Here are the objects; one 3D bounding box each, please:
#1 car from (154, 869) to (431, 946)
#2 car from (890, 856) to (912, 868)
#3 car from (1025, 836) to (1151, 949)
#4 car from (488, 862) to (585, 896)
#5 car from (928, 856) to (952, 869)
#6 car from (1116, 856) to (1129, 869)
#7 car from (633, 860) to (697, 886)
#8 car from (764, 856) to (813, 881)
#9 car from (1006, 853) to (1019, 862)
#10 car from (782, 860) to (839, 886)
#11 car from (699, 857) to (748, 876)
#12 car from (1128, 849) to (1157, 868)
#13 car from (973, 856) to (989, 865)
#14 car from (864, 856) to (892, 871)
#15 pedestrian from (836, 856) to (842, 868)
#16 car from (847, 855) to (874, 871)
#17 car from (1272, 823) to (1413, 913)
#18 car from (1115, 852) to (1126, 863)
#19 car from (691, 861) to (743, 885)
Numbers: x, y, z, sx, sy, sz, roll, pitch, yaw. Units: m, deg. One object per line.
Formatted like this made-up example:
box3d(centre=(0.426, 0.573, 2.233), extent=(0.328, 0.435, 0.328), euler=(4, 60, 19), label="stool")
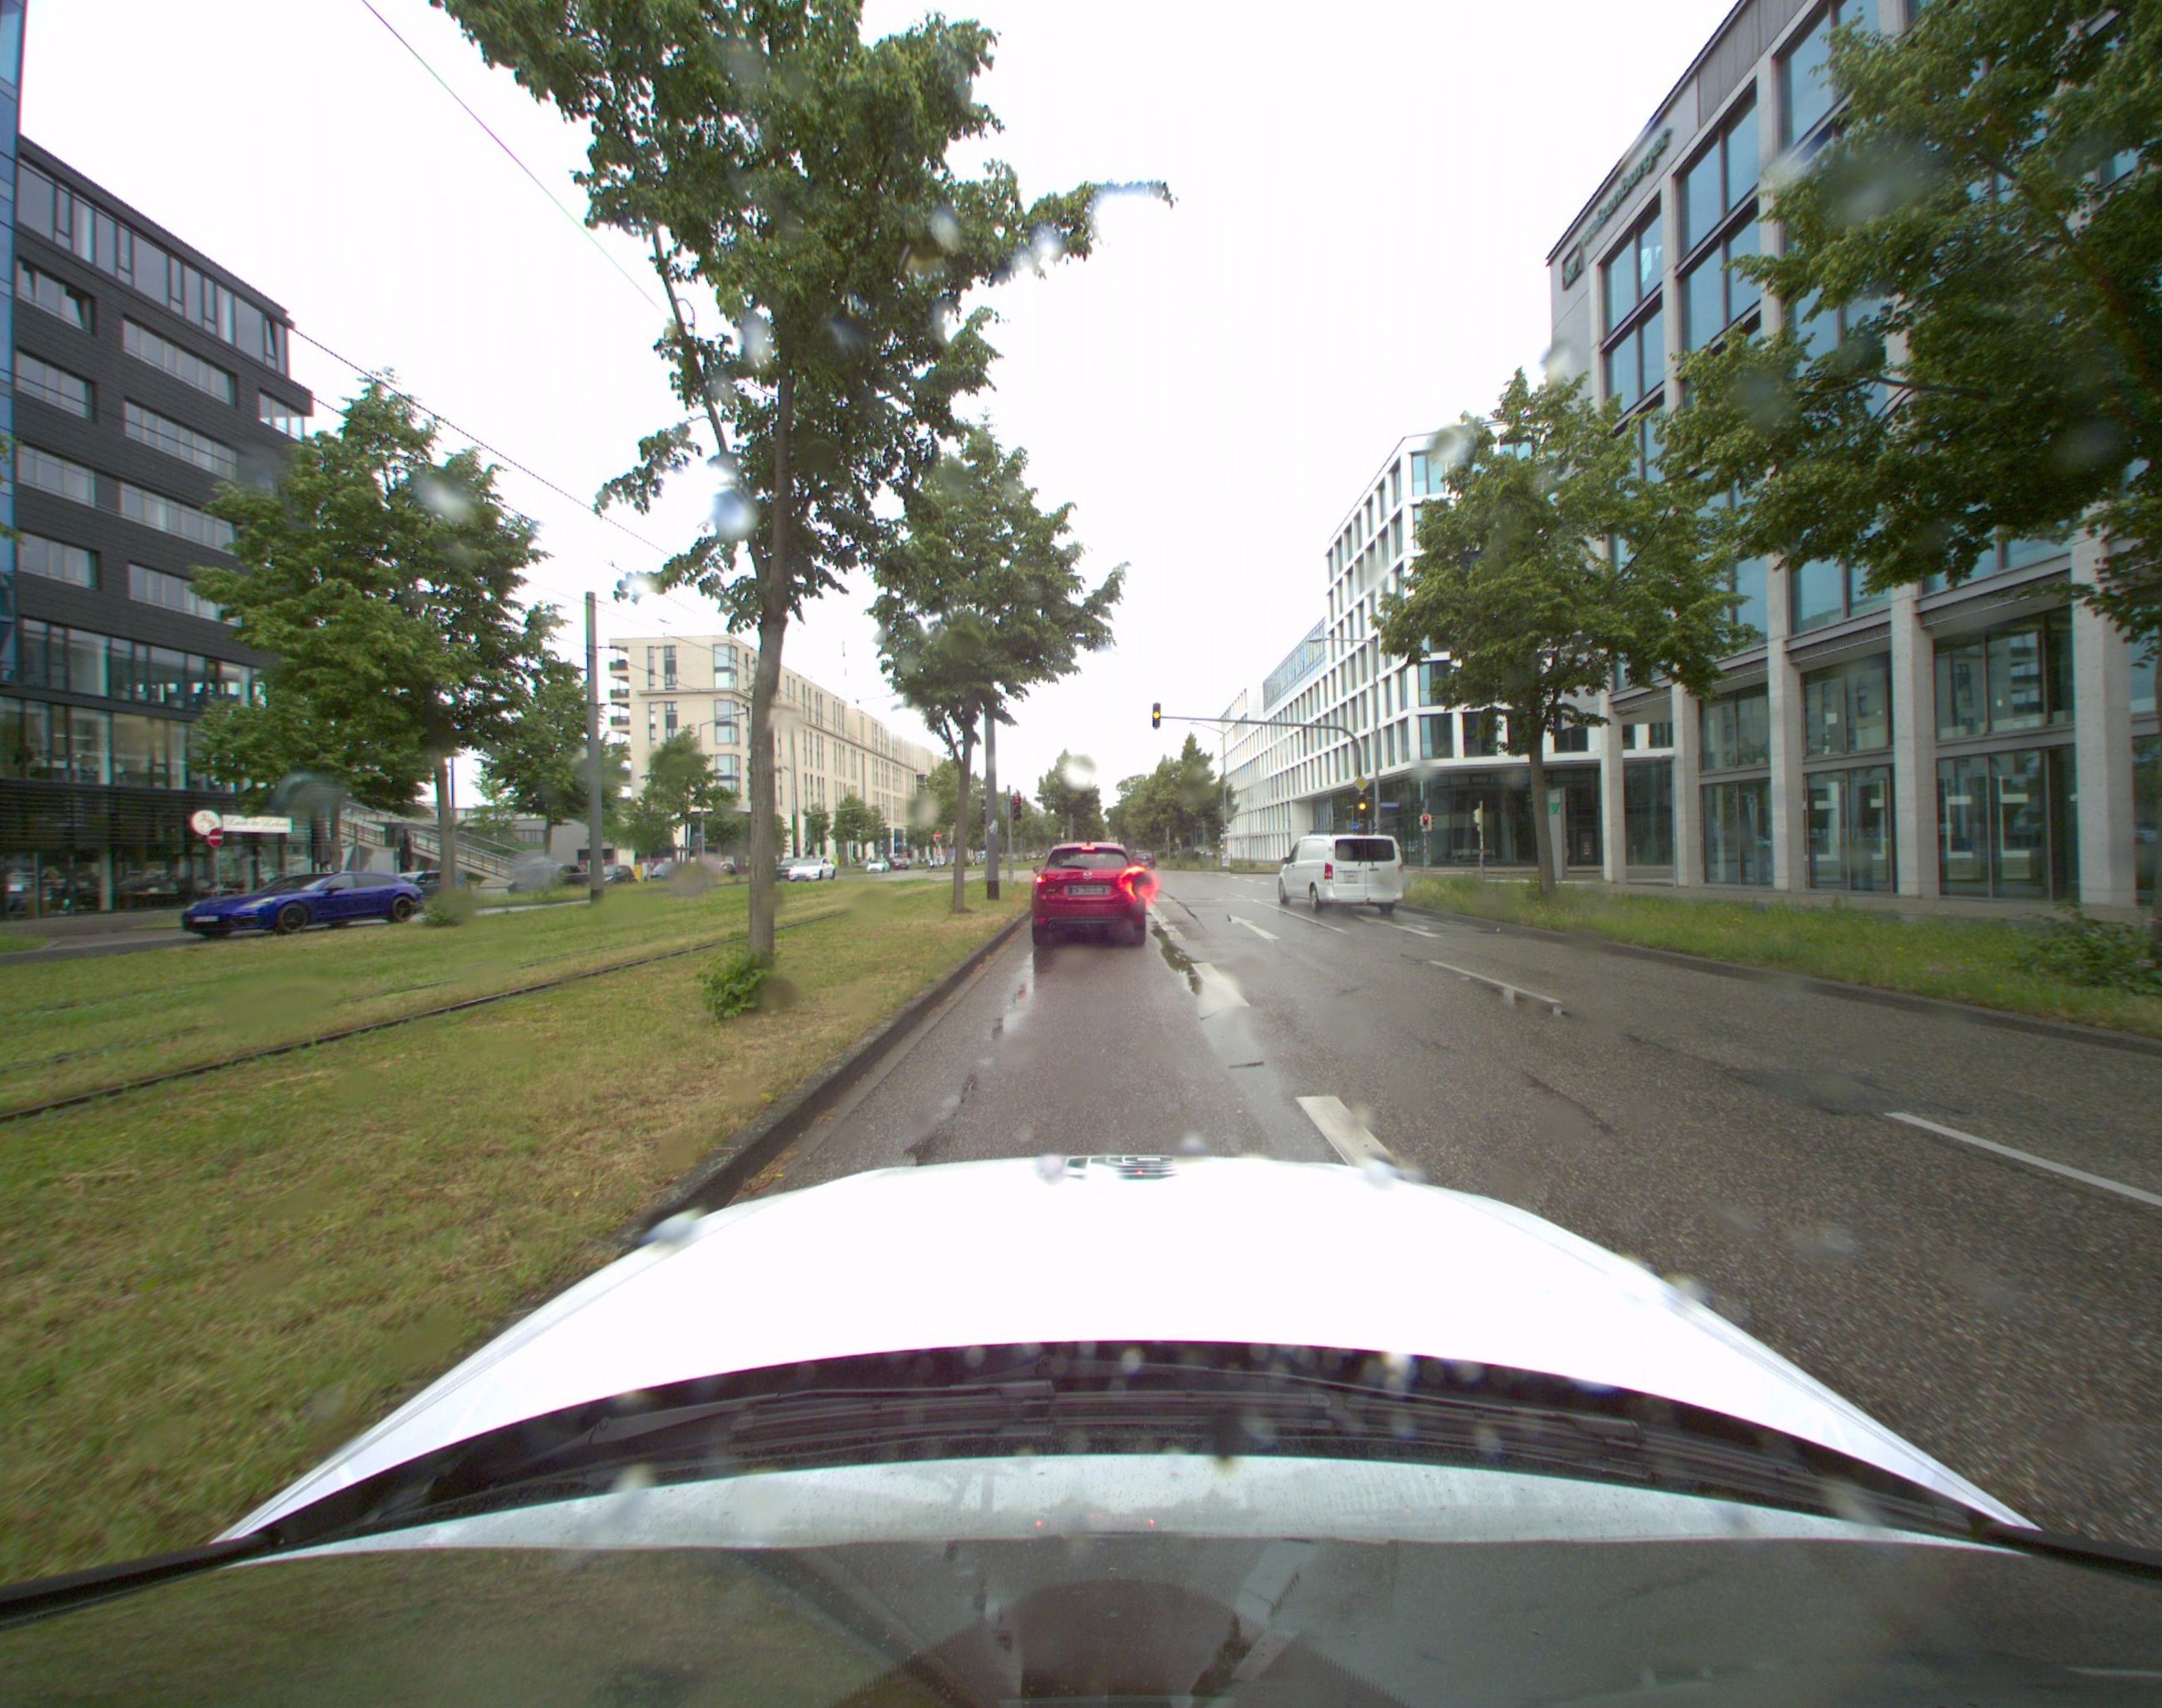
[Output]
box3d(centre=(-19.301, 1.215, 20.369), extent=(1.987, 1.521, 5.011), euler=(-1, 0, 0), label="car")
box3d(centre=(-22.887, 1.024, 103.758), extent=(1.988, 1.484, 4.443), euler=(-1, 0, -2), label="car")
box3d(centre=(0.143, 0.571, 14.325), extent=(1.891, 1.677, 4.001), euler=(-1, 0, 1), label="car")
box3d(centre=(-27.239, 1.214, 40.962), extent=(1.989, 1.484, 4.441), euler=(-1, 1, -3), label="car")
box3d(centre=(-17.129, 0.979, 98.999), extent=(1.986, 1.484, 4.446), euler=(-1, 0, 1), label="car")
box3d(centre=(6.806, 1.368, 135.114), extent=(1.986, 2.013, 4.001), euler=(-1, 0, 1), label="car")
box3d(centre=(-27.063, 1.203, 53.158), extent=(1.989, 1.484, 4.441), euler=(-1, 0, -3), label="car")
box3d(centre=(-20.609, 0.970, 57.510), extent=(1.987, 1.618, 3.999), euler=(-1, 0, 0), label="car")
box3d(centre=(-12.874, 0.655, 154.085), extent=(1.986, 1.484, 4.446), euler=(-1, 0, 1), label="car")
box3d(centre=(-16.699, 1.138, 50.510), extent=(1.986, 1.484, 4.446), euler=(-1, 0, 1), label="car")
box3d(centre=(-29.296, 1.015, 66.951), extent=(1.986, 1.484, 4.446), euler=(-1, 0, 1), label="car")
box3d(centre=(4.746, 0.323, 63.426), extent=(1.739, 1.465, 3.777), euler=(-1, 0, -3), label="car")
box3d(centre=(-17.385, 1.046, 141.382), extent=(1.986, 1.484, 4.448), euler=(-1, 0, 2), label="car")
box3d(centre=(-20.509, 0.926, 82.428), extent=(1.989, 1.484, 4.440), euler=(-1, 0, -3), label="car")
box3d(centre=(-34.013, 1.140, 114.556), extent=(0.632, 1.717, 0.743), euler=(-1, 0, 4), label="pedestrian")
box3d(centre=(-25.803, 1.021, 95.301), extent=(1.986, 1.837, 4.001), euler=(-1, 0, 1), label="car")
box3d(centre=(6.417, 0.323, 20.650), extent=(1.961, 1.979, 5.091), euler=(-1, 0, 1), label="car")
box3d(centre=(7.520, 0.742, 155.962), extent=(1.986, 2.013, 4.001), euler=(-1, 0, 1), label="car")
box3d(centre=(-26.996, 1.384, 60.593), extent=(1.989, 1.598, 4.441), euler=(-1, 0, -3), label="car")
